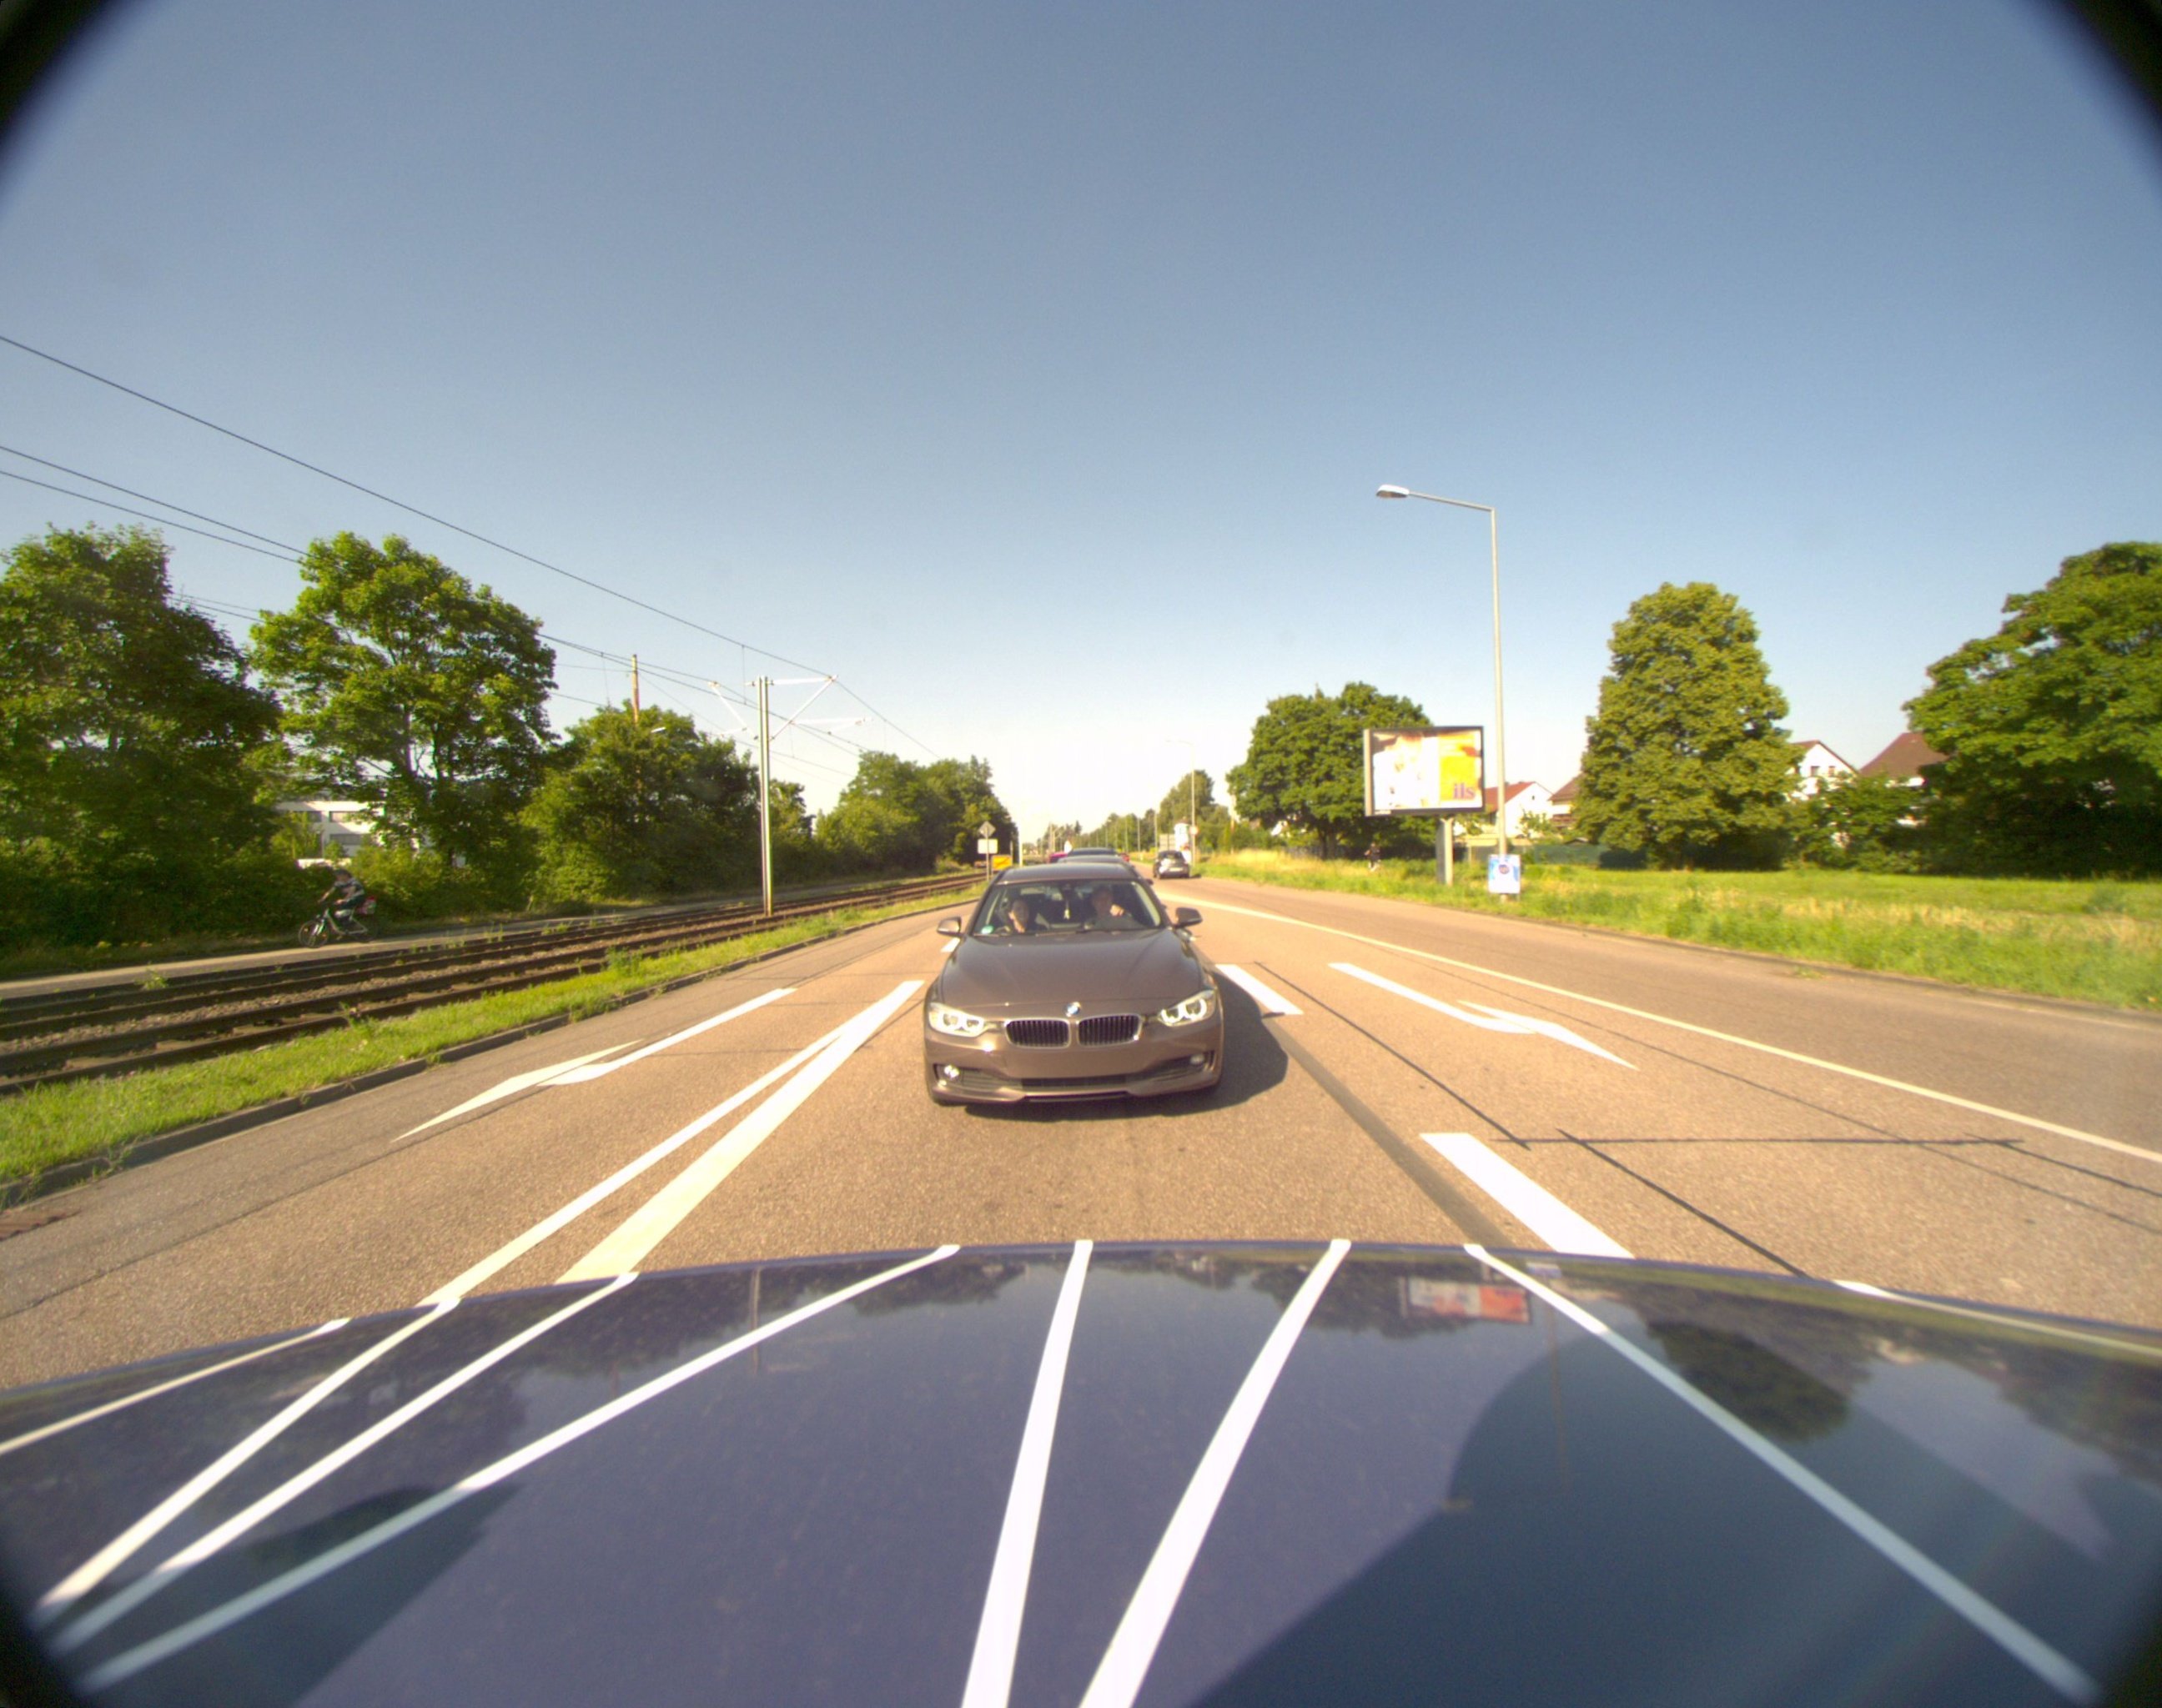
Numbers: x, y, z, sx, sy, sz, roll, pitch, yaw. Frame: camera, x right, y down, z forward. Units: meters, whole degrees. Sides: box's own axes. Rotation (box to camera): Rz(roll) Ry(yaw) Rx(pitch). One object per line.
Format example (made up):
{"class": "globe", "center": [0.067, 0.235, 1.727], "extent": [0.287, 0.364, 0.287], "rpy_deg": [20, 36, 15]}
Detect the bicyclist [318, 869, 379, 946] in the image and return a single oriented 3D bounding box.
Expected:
{"class": "bicyclist", "center": [-17.710, 1.286, 18.386], "extent": [0.708, 1.797, 0.718], "rpy_deg": [-1, 1, 2]}

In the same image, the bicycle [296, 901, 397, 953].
{"class": "bicycle", "center": [-17.723, 1.740, 18.396], "extent": [0.547, 1.041, 1.874], "rpy_deg": [-1, 1, 3]}

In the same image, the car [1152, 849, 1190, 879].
{"class": "car", "center": [4.908, 0.492, 41.715], "extent": [1.637, 1.551, 3.675], "rpy_deg": [-1, 1, 0]}

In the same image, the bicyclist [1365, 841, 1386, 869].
{"class": "bicyclist", "center": [15.416, 0.062, 39.778], "extent": [0.638, 1.420, 1.071], "rpy_deg": [-1, 1, -3]}

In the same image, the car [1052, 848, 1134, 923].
{"class": "car", "center": [0.292, 0.708, 19.778], "extent": [1.821, 1.641, 4.610], "rpy_deg": [-2, 0, 0]}

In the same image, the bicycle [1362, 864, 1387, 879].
{"class": "bicycle", "center": [15.384, 0.920, 39.879], "extent": [0.455, 0.749, 1.833], "rpy_deg": [-1, 0, -5]}

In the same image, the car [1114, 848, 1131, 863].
{"class": "car", "center": [4.330, 0.139, 79.529], "extent": [1.698, 1.489, 3.676], "rpy_deg": [0, 1, 2]}

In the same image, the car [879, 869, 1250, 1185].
{"class": "car", "center": [-0.058, 0.925, 6.085], "extent": [1.821, 1.416, 4.461], "rpy_deg": [-2, 0, 1]}

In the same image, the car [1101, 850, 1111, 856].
{"class": "car", "center": [5.523, -0.253, 170.981], "extent": [1.784, 1.469, 4.284], "rpy_deg": [-1, 0, -4]}

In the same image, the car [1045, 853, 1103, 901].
{"class": "car", "center": [-0.213, 0.730, 26.491], "extent": [1.807, 1.498, 4.196], "rpy_deg": [-1, 0, 0]}

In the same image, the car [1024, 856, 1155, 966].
{"class": "car", "center": [0.133, 0.815, 13.053], "extent": [1.821, 1.481, 4.610], "rpy_deg": [-1, 0, 0]}
